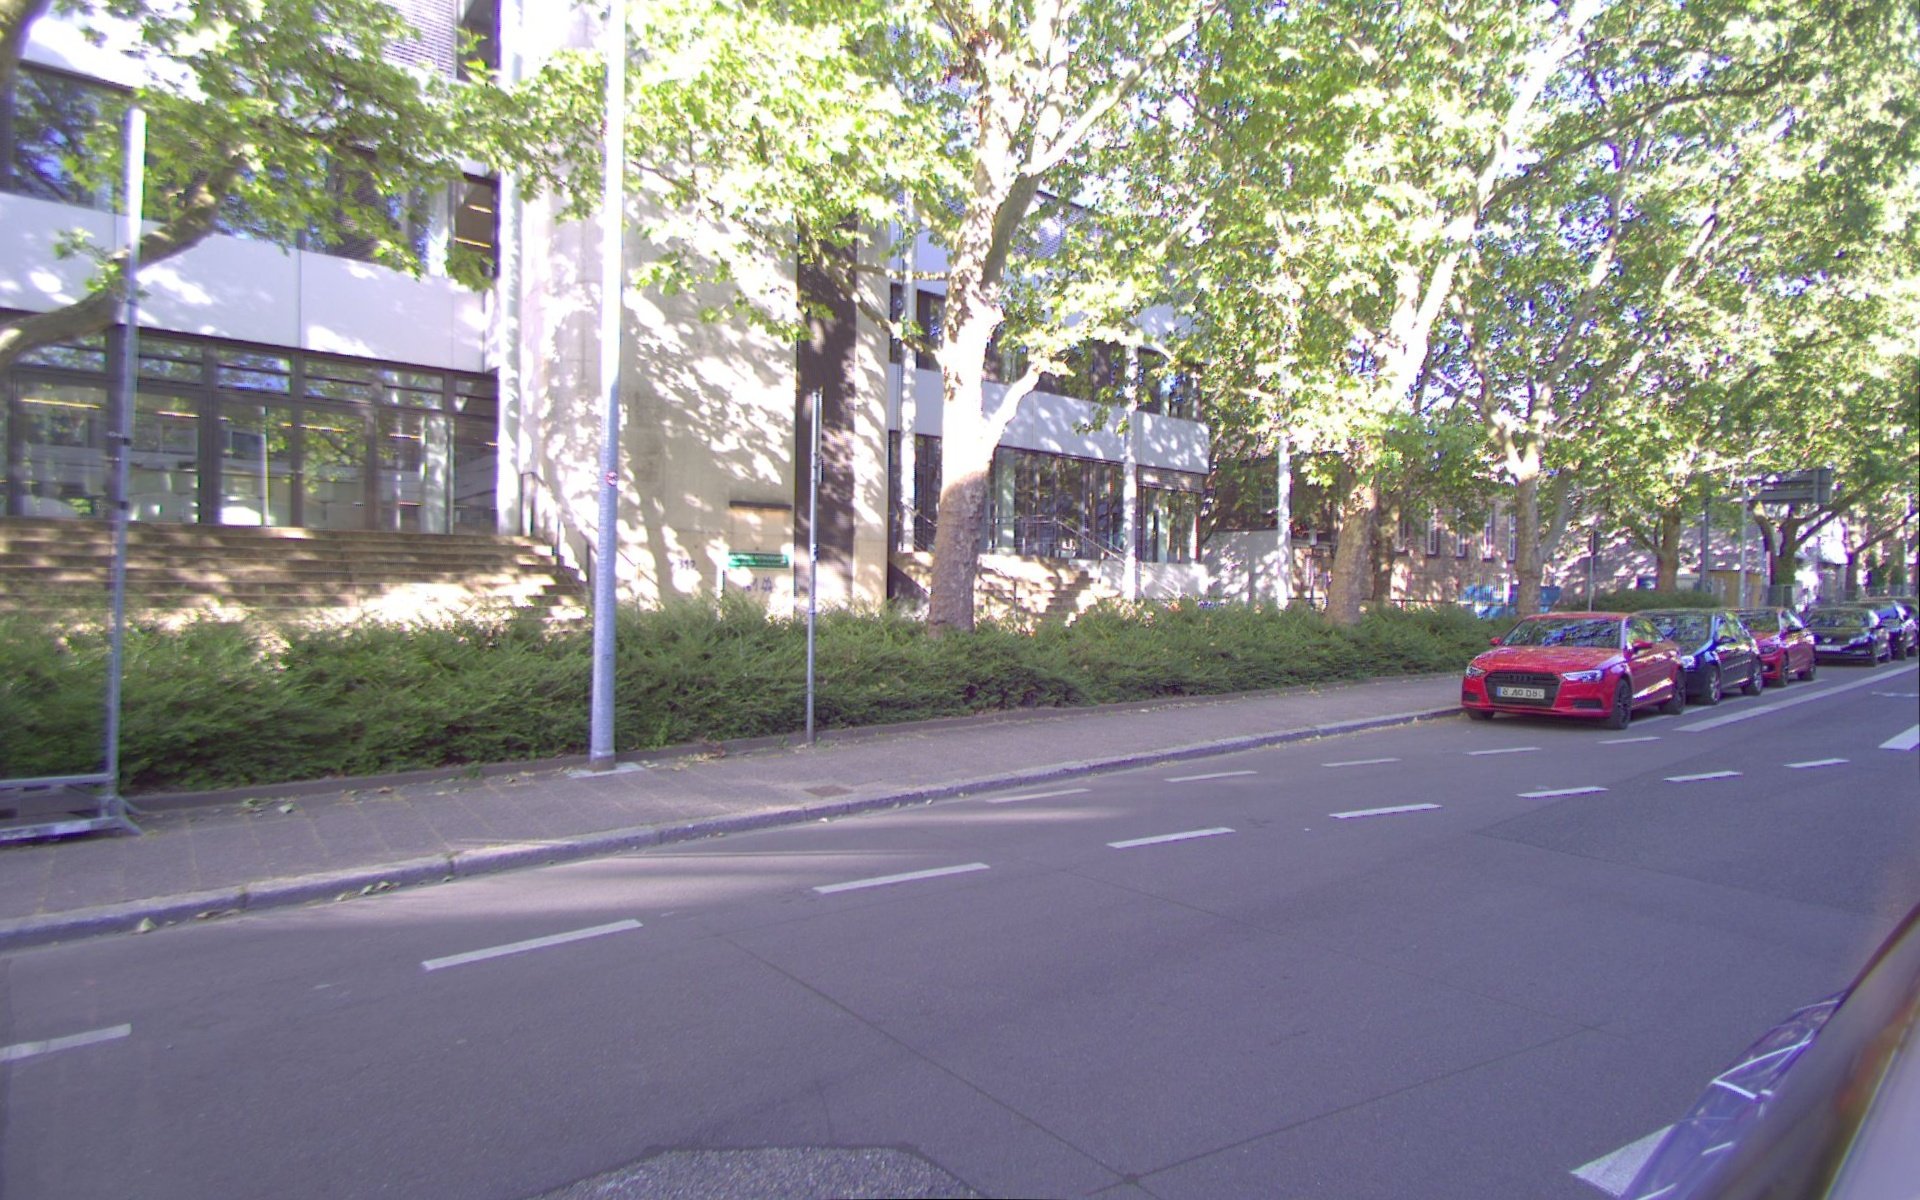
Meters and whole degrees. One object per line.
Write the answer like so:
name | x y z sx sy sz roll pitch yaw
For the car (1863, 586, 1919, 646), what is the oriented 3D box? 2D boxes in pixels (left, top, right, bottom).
car | 30.970 0.490 32.973 4.370 1.843 1.753 0 -1 -41

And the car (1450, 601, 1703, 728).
car | 8.272 0.744 13.451 3.930 1.427 1.753 0 -1 -41

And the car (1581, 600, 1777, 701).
car | 11.848 0.742 16.596 3.841 1.451 1.753 0 -1 -41

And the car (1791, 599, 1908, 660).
car | 22.945 0.720 26.070 3.841 1.451 1.753 0 -1 -41

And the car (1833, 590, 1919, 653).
car | 26.712 0.590 29.183 4.101 1.674 1.753 0 -1 -41

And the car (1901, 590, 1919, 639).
car | 36.193 0.521 37.269 4.370 1.750 1.753 0 -1 -41

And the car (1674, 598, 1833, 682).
car | 15.700 0.724 19.972 3.841 1.486 1.753 0 -1 -41
